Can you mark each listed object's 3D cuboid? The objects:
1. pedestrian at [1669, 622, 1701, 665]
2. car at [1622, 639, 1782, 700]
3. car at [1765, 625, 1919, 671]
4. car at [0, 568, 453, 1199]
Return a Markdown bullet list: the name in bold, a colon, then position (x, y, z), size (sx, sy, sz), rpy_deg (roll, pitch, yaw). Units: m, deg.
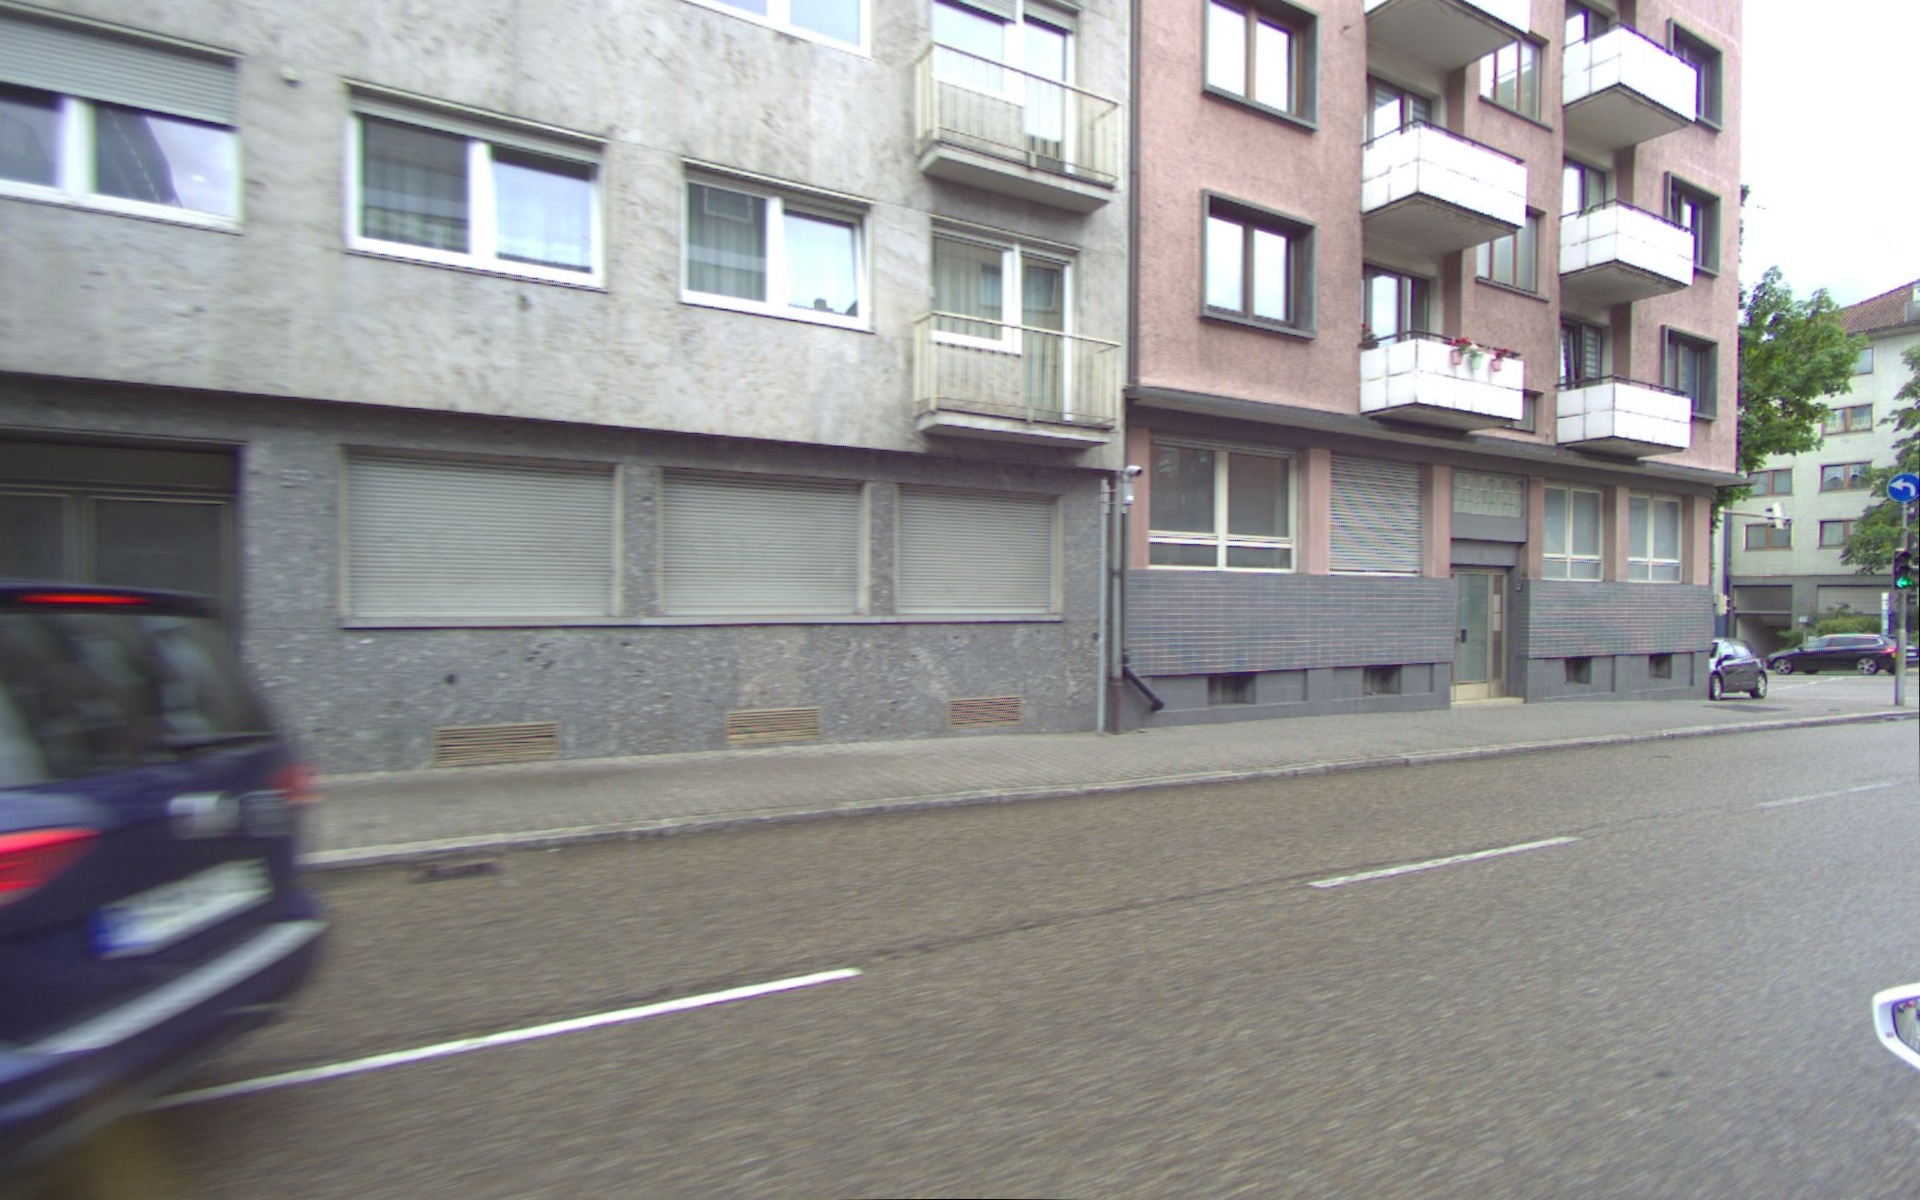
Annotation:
- **pedestrian**: position (32.780, 1.961, 45.434), size (0.740, 1.842, 0.917), rpy_deg (-3, 1, -1)
- **car**: position (18.083, 1.674, 24.467), size (3.954, 1.377, 1.724), rpy_deg (2, -4, -31)
- **car**: position (32.341, 1.714, 36.747), size (1.698, 1.472, 4.251), rpy_deg (2, 0, -21)
- **car**: position (-3.891, 0.699, 2.484), size (4.227, 1.596, 1.998), rpy_deg (1, 0, -5)
